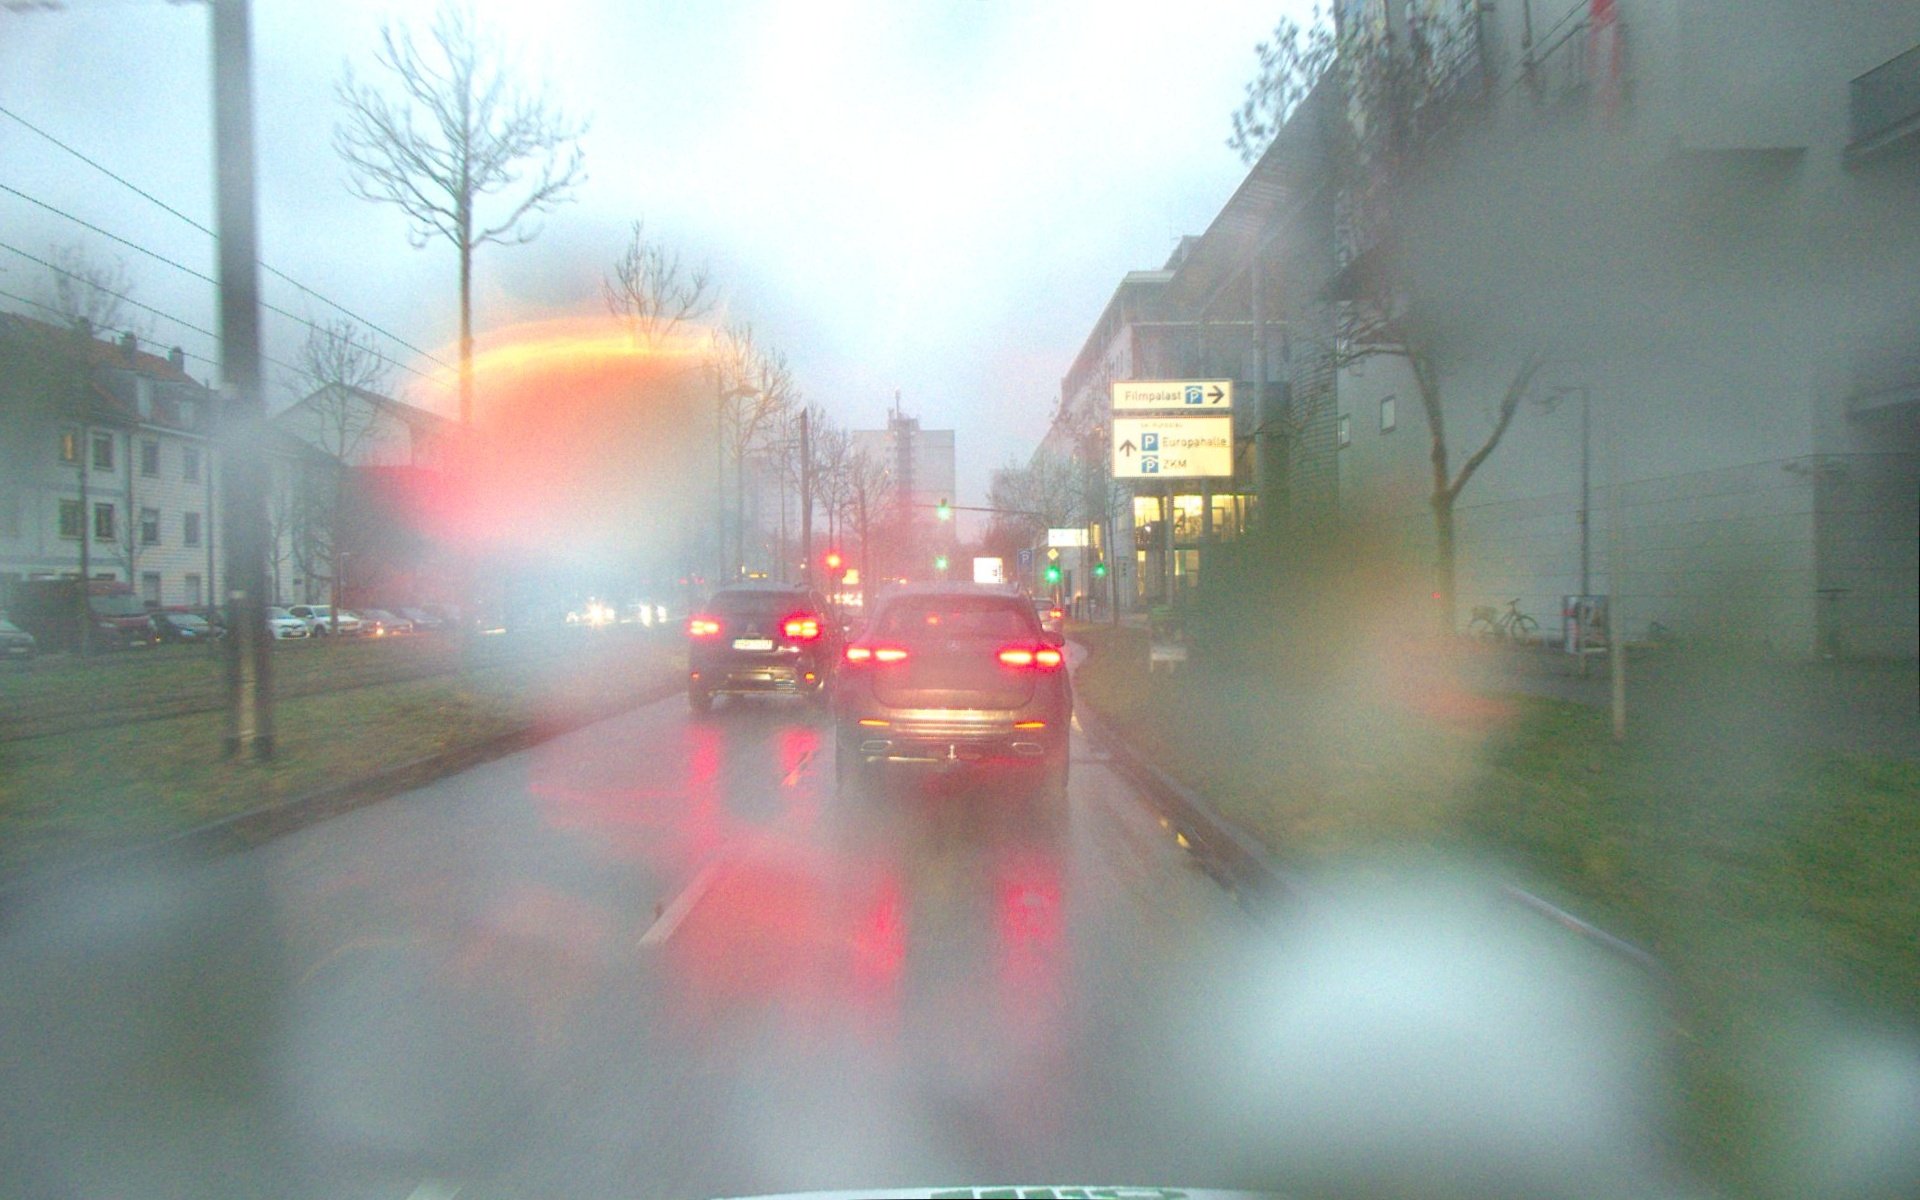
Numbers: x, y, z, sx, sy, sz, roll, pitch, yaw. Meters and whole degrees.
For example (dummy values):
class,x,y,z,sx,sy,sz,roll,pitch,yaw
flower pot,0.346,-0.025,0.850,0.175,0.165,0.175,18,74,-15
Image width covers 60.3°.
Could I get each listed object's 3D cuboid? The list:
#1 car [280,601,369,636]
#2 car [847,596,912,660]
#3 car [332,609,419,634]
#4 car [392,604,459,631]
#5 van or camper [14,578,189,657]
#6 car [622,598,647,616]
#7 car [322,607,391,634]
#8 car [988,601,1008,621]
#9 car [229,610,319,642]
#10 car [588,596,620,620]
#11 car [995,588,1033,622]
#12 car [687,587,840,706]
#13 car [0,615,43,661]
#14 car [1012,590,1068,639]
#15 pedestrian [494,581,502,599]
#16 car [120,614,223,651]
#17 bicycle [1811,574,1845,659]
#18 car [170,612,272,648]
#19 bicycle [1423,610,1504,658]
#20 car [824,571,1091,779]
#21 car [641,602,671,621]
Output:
class,x,y,z,sx,sy,sz,roll,pitch,yaw
car,-28.124,0.799,73.193,4.042,1.402,1.766,1,0,36
car,-2.162,0.733,45.164,1.655,1.664,3.473,1,0,-1
car,-28.089,1.019,79.483,4.098,1.135,1.678,1,0,30
car,-28.162,0.916,87.134,3.691,1.360,1.448,0,0,35
van or camper,-28.076,0.526,53.987,6.737,2.401,1.994,1,0,33
car,-30.926,0.618,157.133,1.894,1.625,3.724,1,0,-4
car,-27.943,0.933,76.558,2.978,1.167,1.394,1,0,30
car,3.096,0.875,134.045,1.582,1.599,3.352,1,0,2
car,-27.662,1.041,66.670,3.345,1.167,1.688,1,0,31
car,-25.786,0.583,119.745,1.581,1.651,3.508,1,0,-1
car,2.460,0.224,76.138,1.590,1.524,3.526,1,0,0
car,-2.614,0.578,22.802,1.781,1.476,3.998,1,0,-3
car,-27.574,1.068,47.402,2.835,1.225,1.381,1,0,41
car,2.707,0.465,56.427,1.828,1.570,3.611,1,0,2
pedestrian,-30.216,-0.655,108.274,0.343,1.205,0.428,1,0,-41
car,-28.537,1.156,59.876,3.464,1.233,1.744,1,0,31
bicycle,13.835,0.256,26.374,0.402,1.307,1.742,1,0,26
car,-28.108,1.123,62.907,3.464,1.221,1.878,1,0,31
bicycle,11.821,0.785,38.839,1.772,1.070,0.396,-2,0,-3
car,-0.046,0.555,14.066,1.953,1.509,3.699,1,0,-1
car,-26.541,0.977,144.538,1.842,1.529,4.788,1,0,-2
